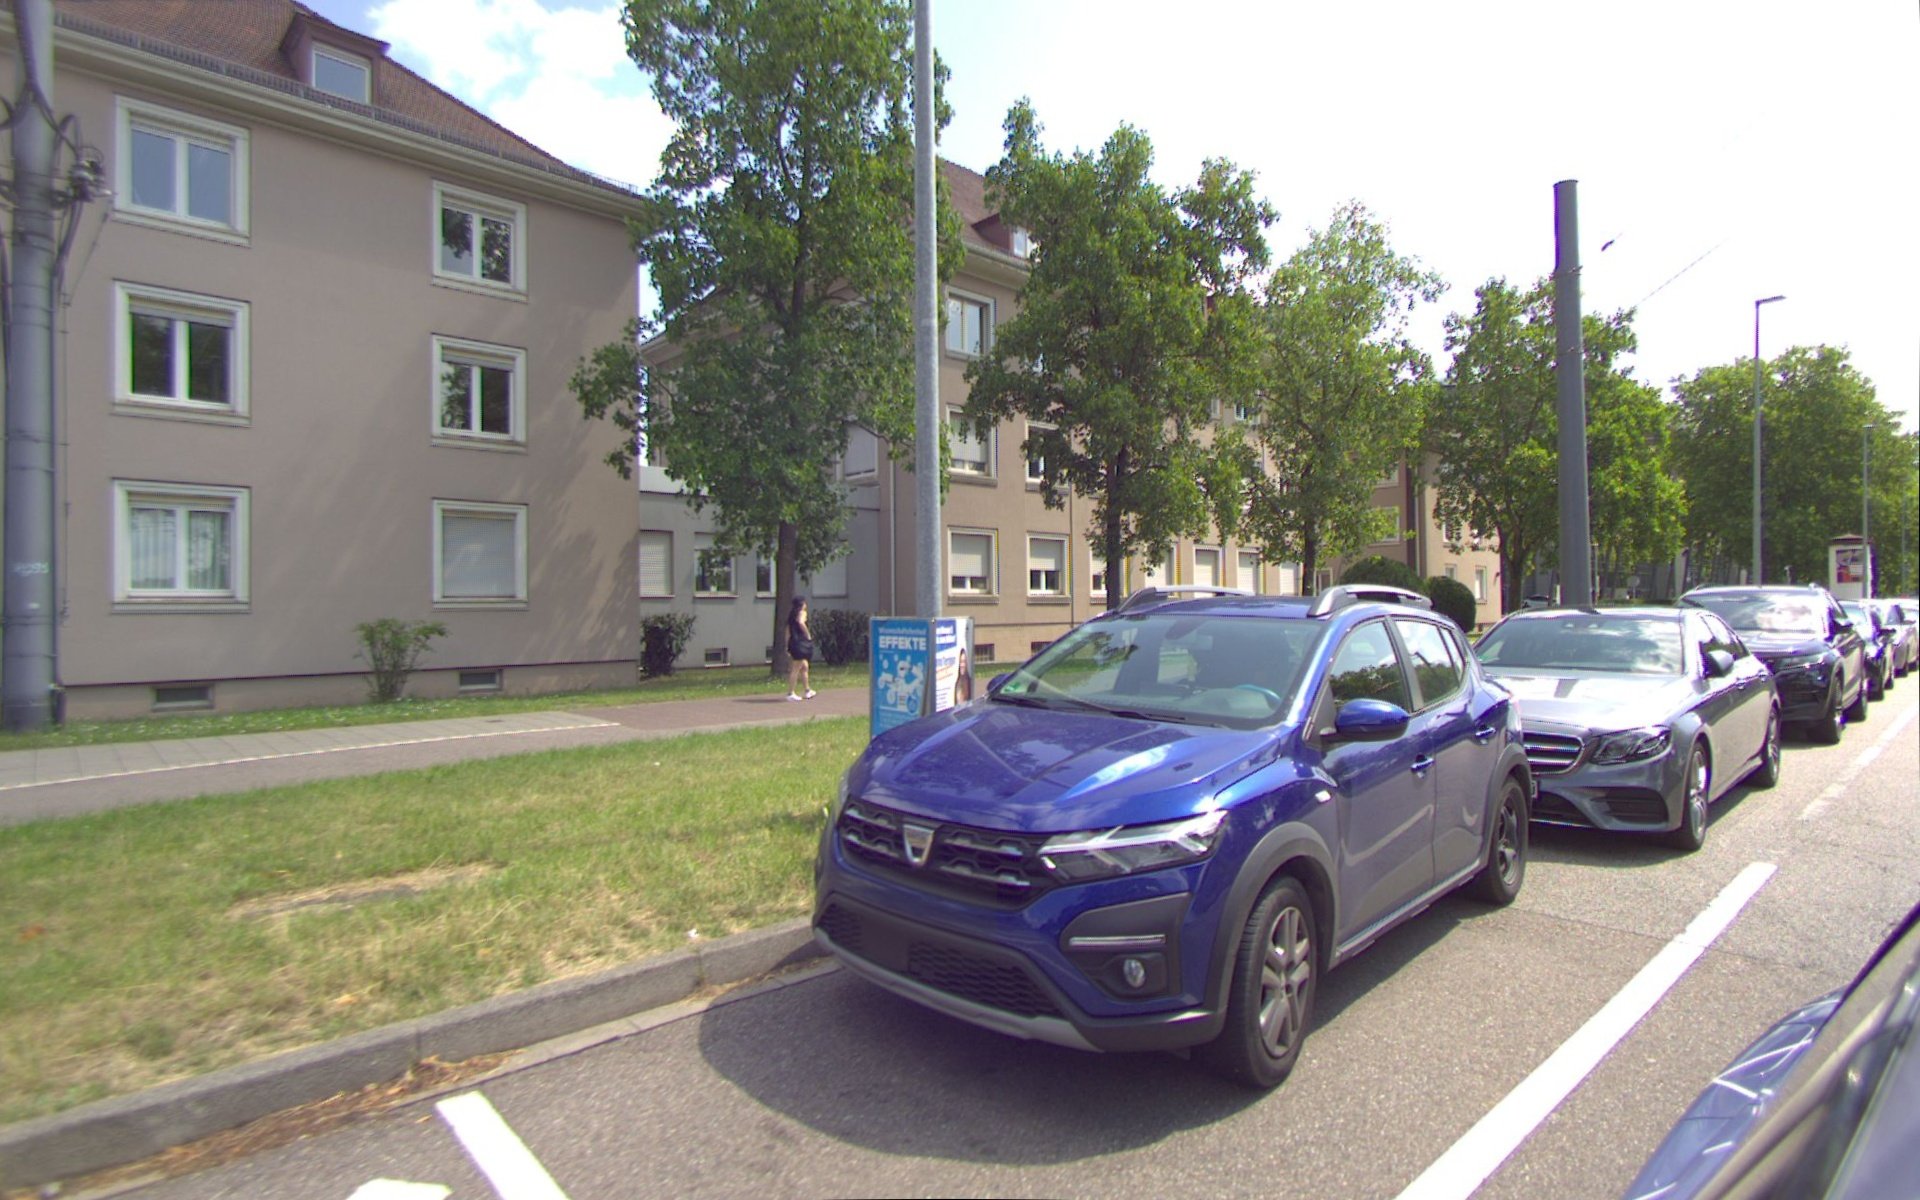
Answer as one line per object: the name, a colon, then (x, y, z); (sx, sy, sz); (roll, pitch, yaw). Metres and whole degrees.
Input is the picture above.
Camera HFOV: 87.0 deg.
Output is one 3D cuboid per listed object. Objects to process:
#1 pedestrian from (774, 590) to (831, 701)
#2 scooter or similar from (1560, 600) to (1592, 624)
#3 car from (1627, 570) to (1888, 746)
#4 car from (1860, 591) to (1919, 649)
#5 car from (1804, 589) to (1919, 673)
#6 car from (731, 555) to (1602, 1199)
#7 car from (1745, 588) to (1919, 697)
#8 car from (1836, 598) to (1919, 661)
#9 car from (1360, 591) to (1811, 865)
pedestrian: (-2.380, 0.664, 15.343); (0.618, 1.628, 0.619); (0, 0, 26)
scooter or similar: (34.202, 0.674, 56.194); (0.536, 1.320, 1.446); (-1, -1, -28)
car: (9.541, 0.548, 11.954); (4.593, 1.683, 1.818); (0, 0, -44)
car: (26.247, 0.510, 27.933); (3.725, 1.498, 1.709); (-1, 0, -42)
car: (18.605, 0.558, 20.602); (3.785, 1.534, 1.671); (-1, 1, -42)
car: (1.324, 0.652, 4.556); (1.779, 1.560, 4.350); (0, 0, 45)
car: (14.309, 0.585, 16.510); (4.366, 1.549, 1.646); (-1, 0, -42)
car: (21.919, 0.629, 23.636); (4.369, 1.328, 1.825); (-1, 0, -44)
car: (5.063, 0.678, 7.817); (4.907, 1.472, 1.818); (0, 0, -44)
